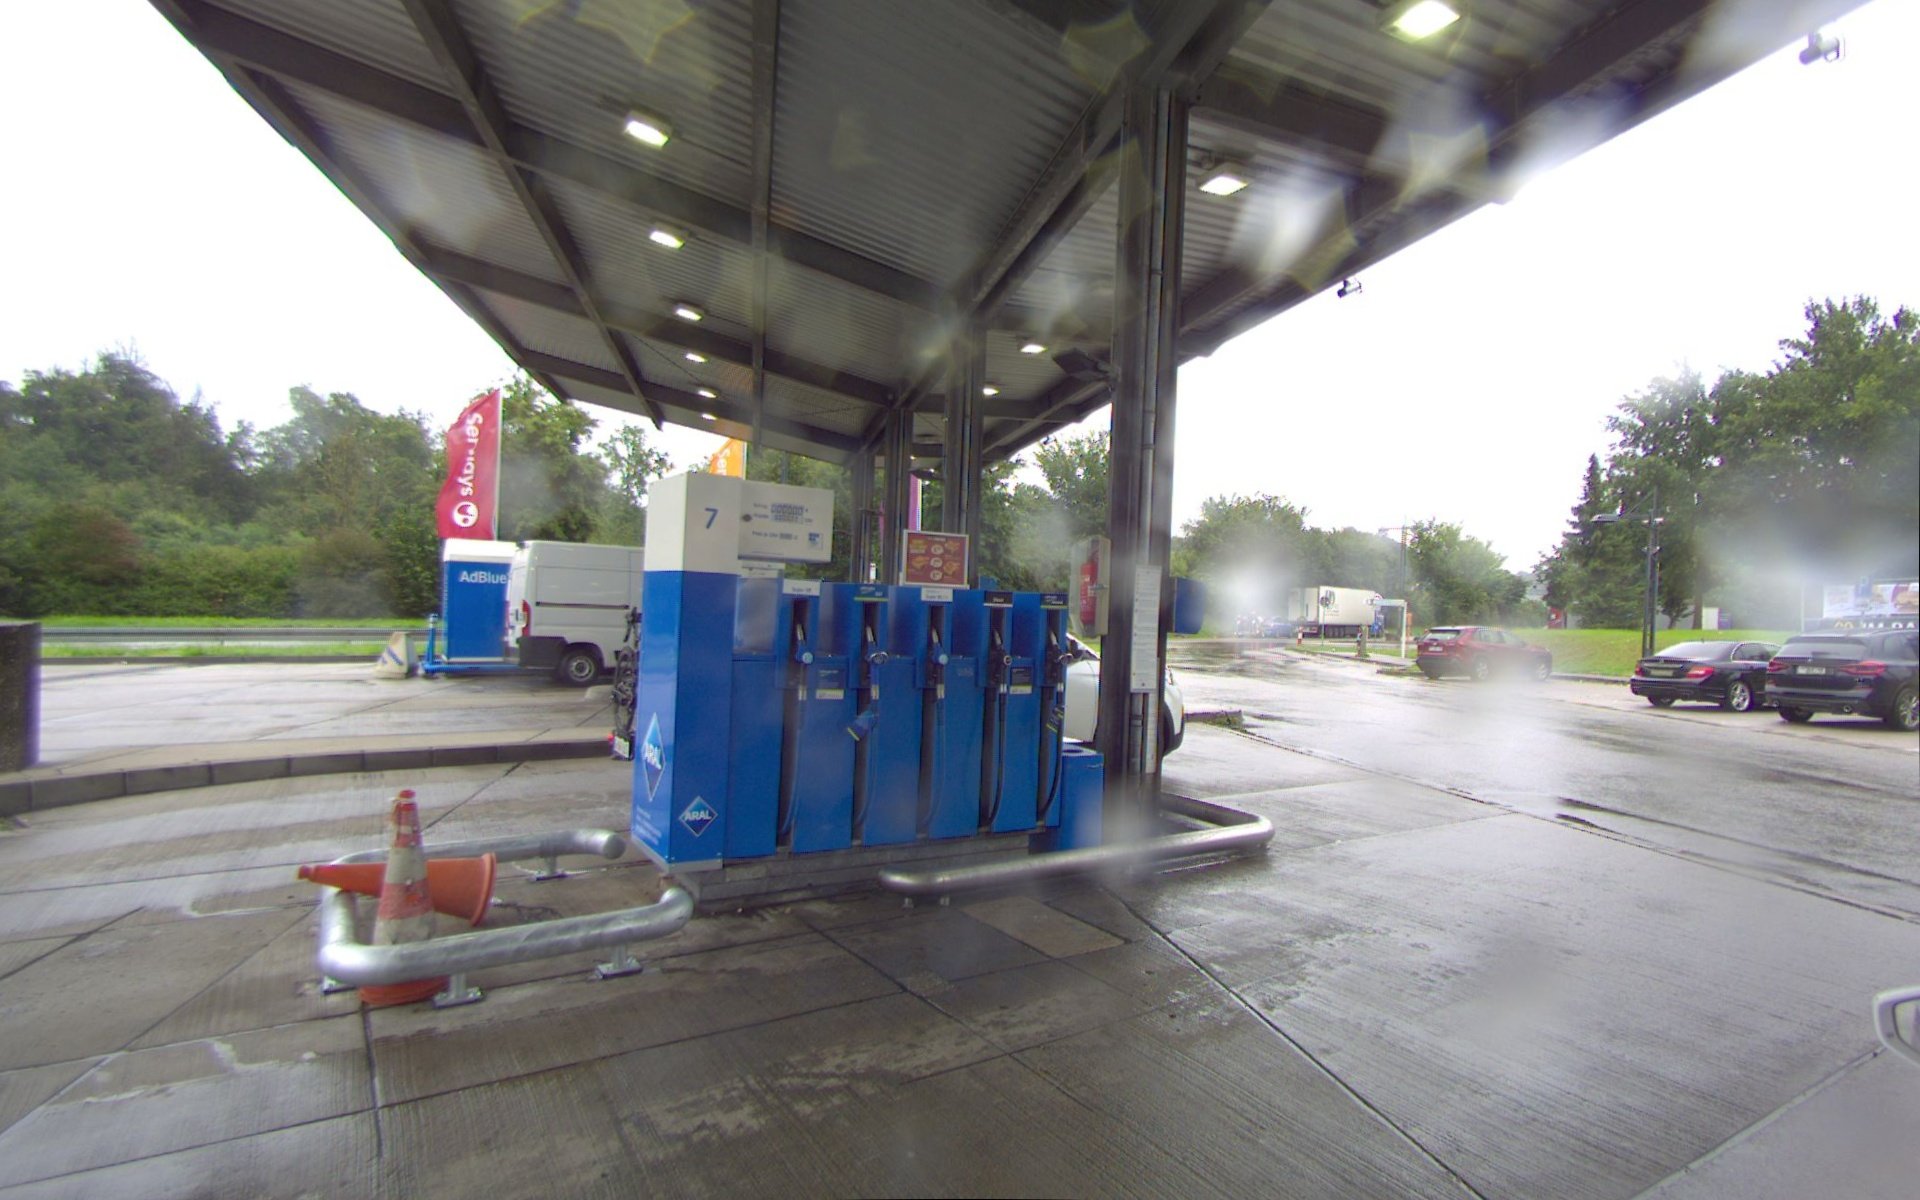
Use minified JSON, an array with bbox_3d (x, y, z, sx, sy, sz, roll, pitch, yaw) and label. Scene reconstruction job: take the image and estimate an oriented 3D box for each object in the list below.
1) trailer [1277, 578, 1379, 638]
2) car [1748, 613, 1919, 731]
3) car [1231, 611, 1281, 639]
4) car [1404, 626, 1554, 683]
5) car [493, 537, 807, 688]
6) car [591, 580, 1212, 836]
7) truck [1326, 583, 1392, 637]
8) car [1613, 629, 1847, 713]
[{"bbox_3d":[30.921,0.755,83.864,3.416,4.618,13.847,2,0,40],"label":"trailer"},{"bbox_3d":[16.158,1.191,17.413,4.344,1.852,1.883,1,-1,-19],"label":"car"},{"bbox_3d":[20.870,1.757,70.785,1.903,1.862,4.373,1,0,38],"label":"car"},{"bbox_3d":[16.008,1.647,30.979,4.294,1.617,1.879,1,-1,-24],"label":"car"},{"bbox_3d":[-5.762,0.269,18.959,5.227,2.496,2.306,1,-1,-34],"label":"car"},{"bbox_3d":[-0.285,0.711,8.369,4.953,1.586,1.803,1,0,-34],"label":"car"},{"bbox_3d":[35.594,0.925,89.468,3.416,4.618,6.704,2,0,40],"label":"truck"},{"bbox_3d":[15.945,1.419,20.832,4.119,1.585,1.883,1,-1,-19],"label":"car"}]
